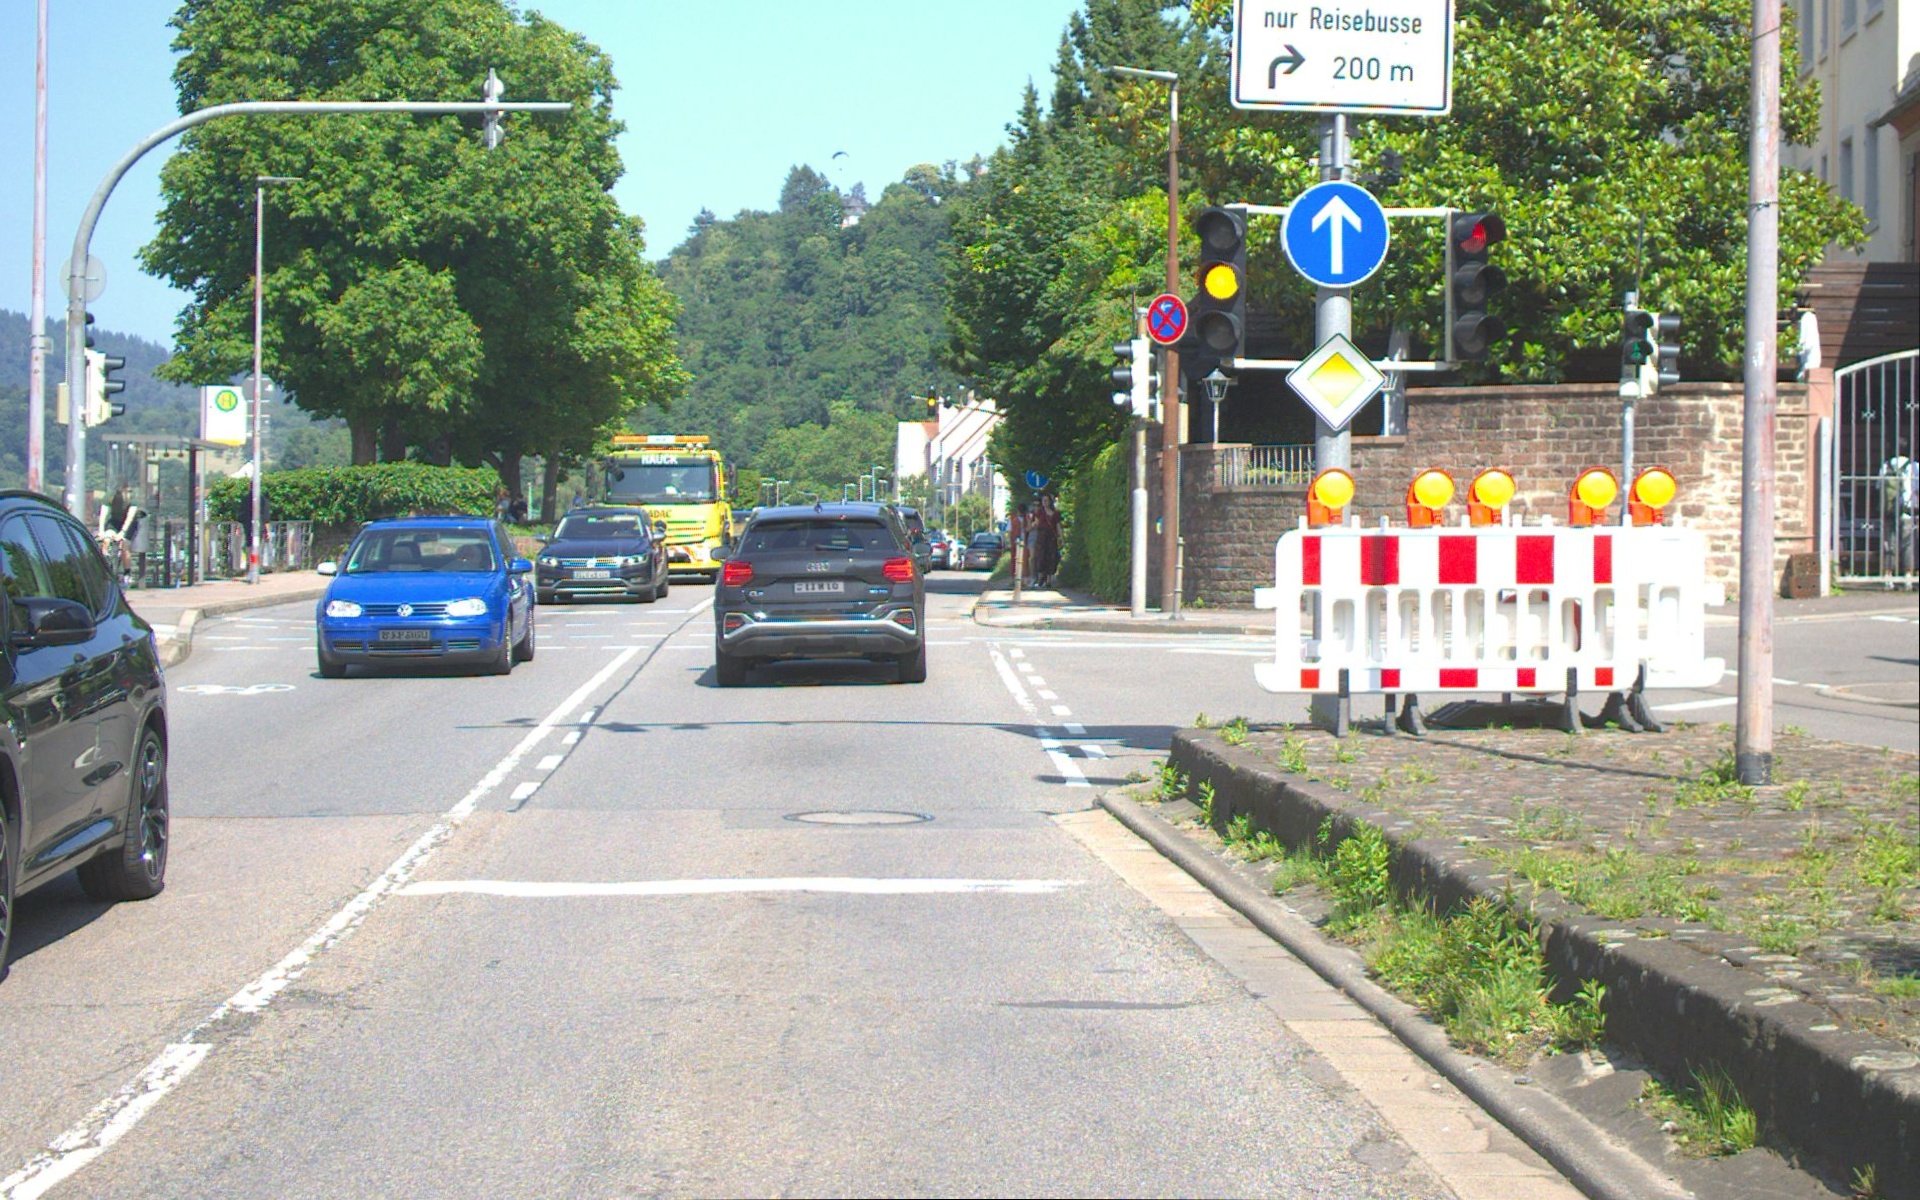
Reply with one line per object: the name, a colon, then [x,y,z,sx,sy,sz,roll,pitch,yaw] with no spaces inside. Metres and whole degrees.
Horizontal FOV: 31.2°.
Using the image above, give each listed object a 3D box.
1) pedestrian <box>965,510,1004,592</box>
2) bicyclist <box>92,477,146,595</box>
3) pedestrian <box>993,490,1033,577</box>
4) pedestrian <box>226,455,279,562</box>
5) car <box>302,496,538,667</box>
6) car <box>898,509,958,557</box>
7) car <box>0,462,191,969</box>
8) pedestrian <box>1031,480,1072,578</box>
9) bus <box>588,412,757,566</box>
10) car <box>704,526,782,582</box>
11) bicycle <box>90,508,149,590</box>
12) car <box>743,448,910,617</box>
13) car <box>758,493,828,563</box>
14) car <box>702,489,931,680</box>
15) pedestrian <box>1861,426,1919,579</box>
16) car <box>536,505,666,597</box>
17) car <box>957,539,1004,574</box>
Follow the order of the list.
pedestrian: [0.503,-1.001,70.388,0.728,1.644,0.882,-2,1,2]
bicyclist: [-11.734,-0.893,47.994,0.666,1.626,0.980,-1,1,-10]
pedestrian: [1.000,-1.261,65.196,0.735,1.628,0.920,0,2,0]
pedestrian: [-12.816,-1.654,62.284,0.753,1.911,1.009,0,-1,0]
car: [-5.002,-0.208,32.340,1.729,1.485,4.326,0,1,-3]
car: [-1.028,-2.180,112.067,1.795,1.477,4.000,1,1,1]
car: [-4.158,0.365,12.530,1.862,1.675,4.455,0,1,-2]
pedestrian: [1.631,-1.272,61.552,0.681,1.736,0.913,1,1,0]
bus: [-5.641,-2.199,68.687,2.597,2.886,8.447,0,2,0]
car: [-5.726,-1.230,91.071,1.815,1.393,4.347,0,2,-1]
bicycle: [-11.730,-0.716,48.003,0.666,1.109,2.035,-1,1,-10]
car: [-1.675,-0.797,43.324,1.993,2.007,4.000,0,-1,-2]
car: [-5.544,-2.438,114.995,2.096,2.294,5.869,0,2,0]
car: [-1.227,-0.189,30.105,1.857,1.518,4.001,0,2,-2]
pedestrian: [10.538,-1.089,38.617,0.724,1.700,0.707,0,1,21]
car: [-5.671,-0.806,54.709,1.808,1.401,4.357,0,2,-3]
car: [0.895,-1.871,148.637,1.993,1.448,4.008,0,-1,0]
